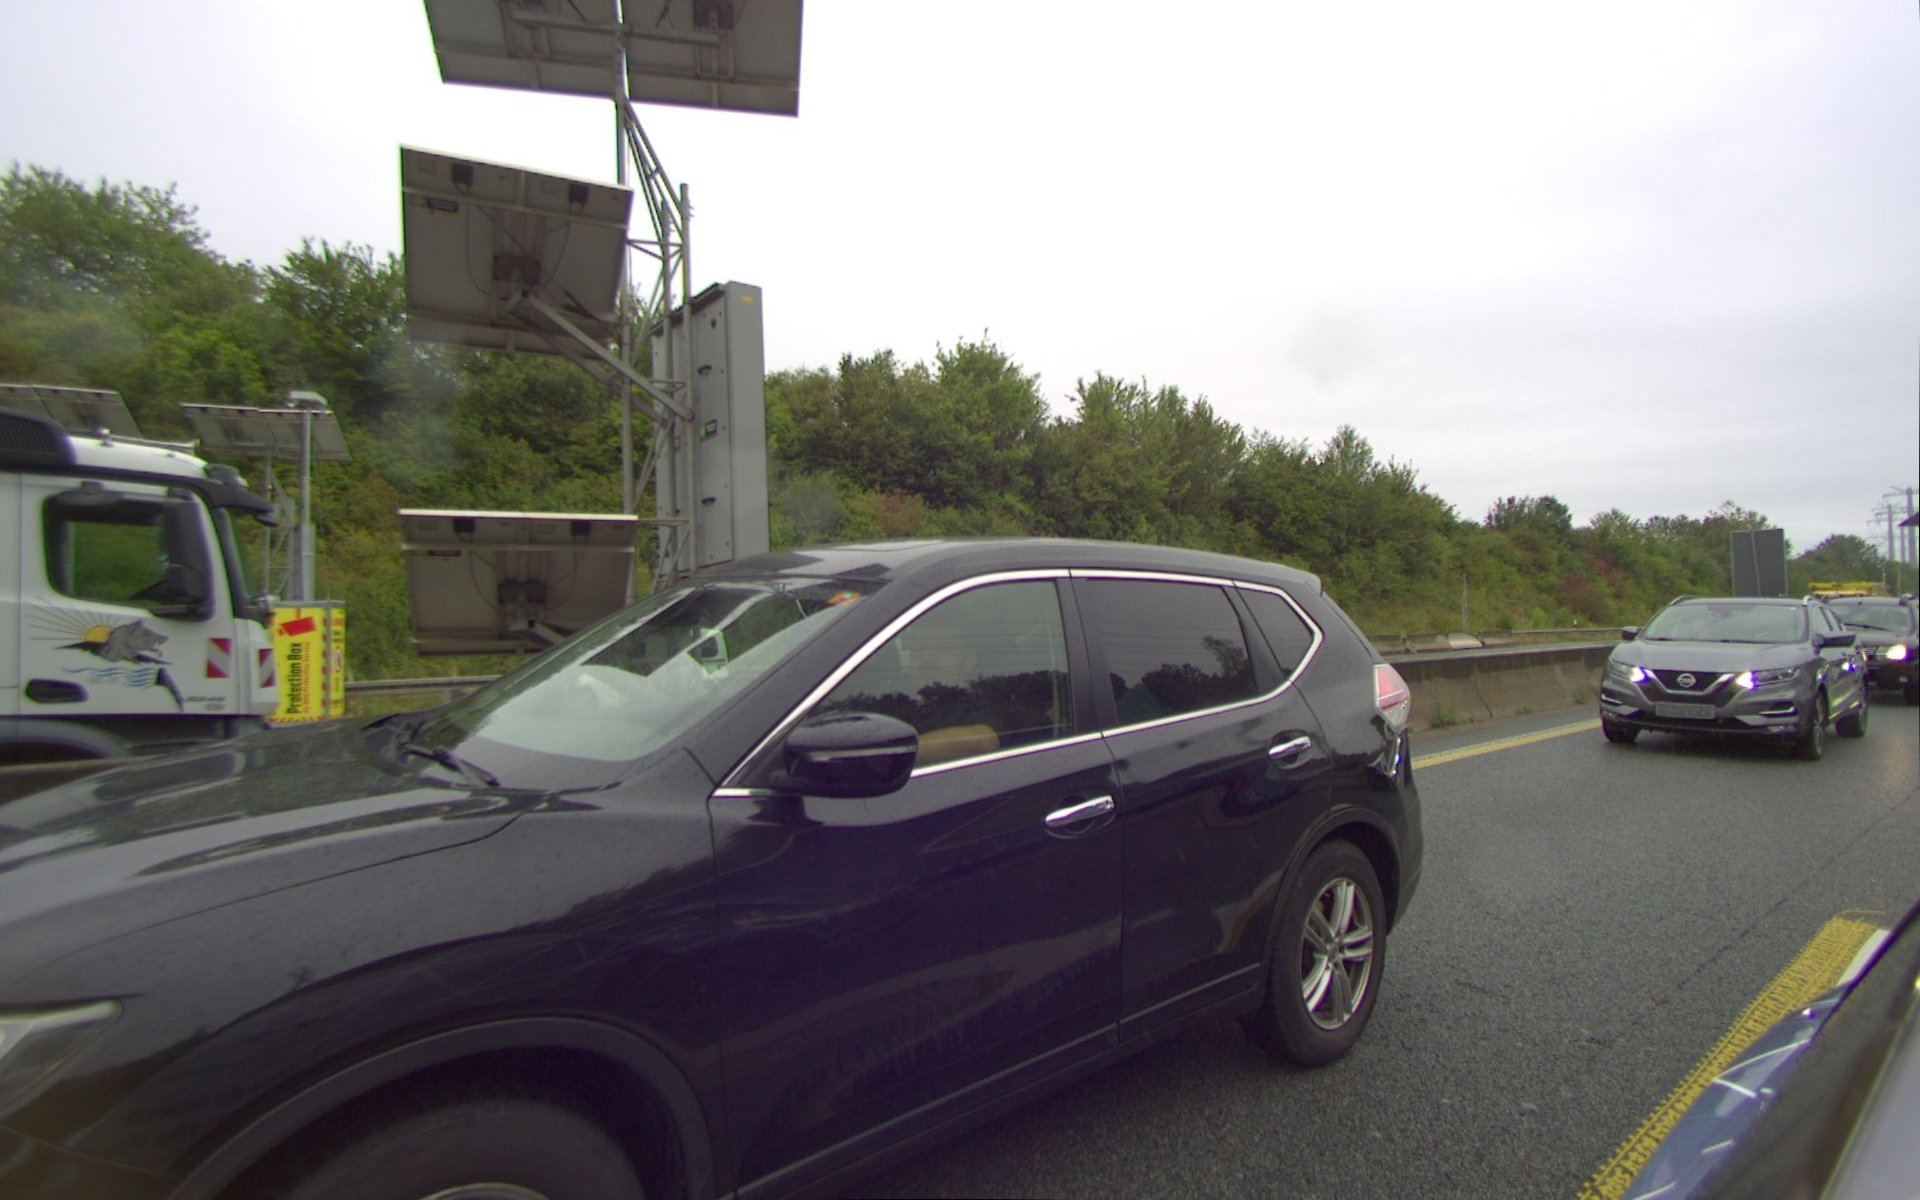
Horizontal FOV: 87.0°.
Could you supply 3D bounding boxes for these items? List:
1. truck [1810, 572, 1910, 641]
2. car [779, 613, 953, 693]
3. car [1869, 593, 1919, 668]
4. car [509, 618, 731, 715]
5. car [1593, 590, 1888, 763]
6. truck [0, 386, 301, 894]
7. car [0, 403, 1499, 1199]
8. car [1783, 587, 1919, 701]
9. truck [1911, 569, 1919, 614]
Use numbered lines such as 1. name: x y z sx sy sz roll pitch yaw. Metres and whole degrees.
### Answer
1. truck: 49.059 0.295 55.046 9.403 3.467 2.618 -1 0 -39
2. car: -2.337 1.272 25.879 4.254 1.792 1.731 -1 0 -41
3. car: 21.160 0.614 21.874 4.052 1.509 1.782 -1 0 -41
4. car: -7.244 1.326 21.794 4.194 1.780 1.731 -1 0 -41
5. car: 8.525 0.655 10.929 4.052 1.509 1.782 -1 0 -41
6. truck: -8.997 0.269 5.411 8.958 3.171 2.525 -1 0 -41
7. car: -0.237 0.606 3.135 4.560 1.696 1.893 -1 0 -41
8. car: 14.718 0.603 16.181 4.052 1.618 1.782 -1 0 -41
9. truck: 78.385 -0.691 80.100 9.403 3.467 3.328 -1 0 -39
